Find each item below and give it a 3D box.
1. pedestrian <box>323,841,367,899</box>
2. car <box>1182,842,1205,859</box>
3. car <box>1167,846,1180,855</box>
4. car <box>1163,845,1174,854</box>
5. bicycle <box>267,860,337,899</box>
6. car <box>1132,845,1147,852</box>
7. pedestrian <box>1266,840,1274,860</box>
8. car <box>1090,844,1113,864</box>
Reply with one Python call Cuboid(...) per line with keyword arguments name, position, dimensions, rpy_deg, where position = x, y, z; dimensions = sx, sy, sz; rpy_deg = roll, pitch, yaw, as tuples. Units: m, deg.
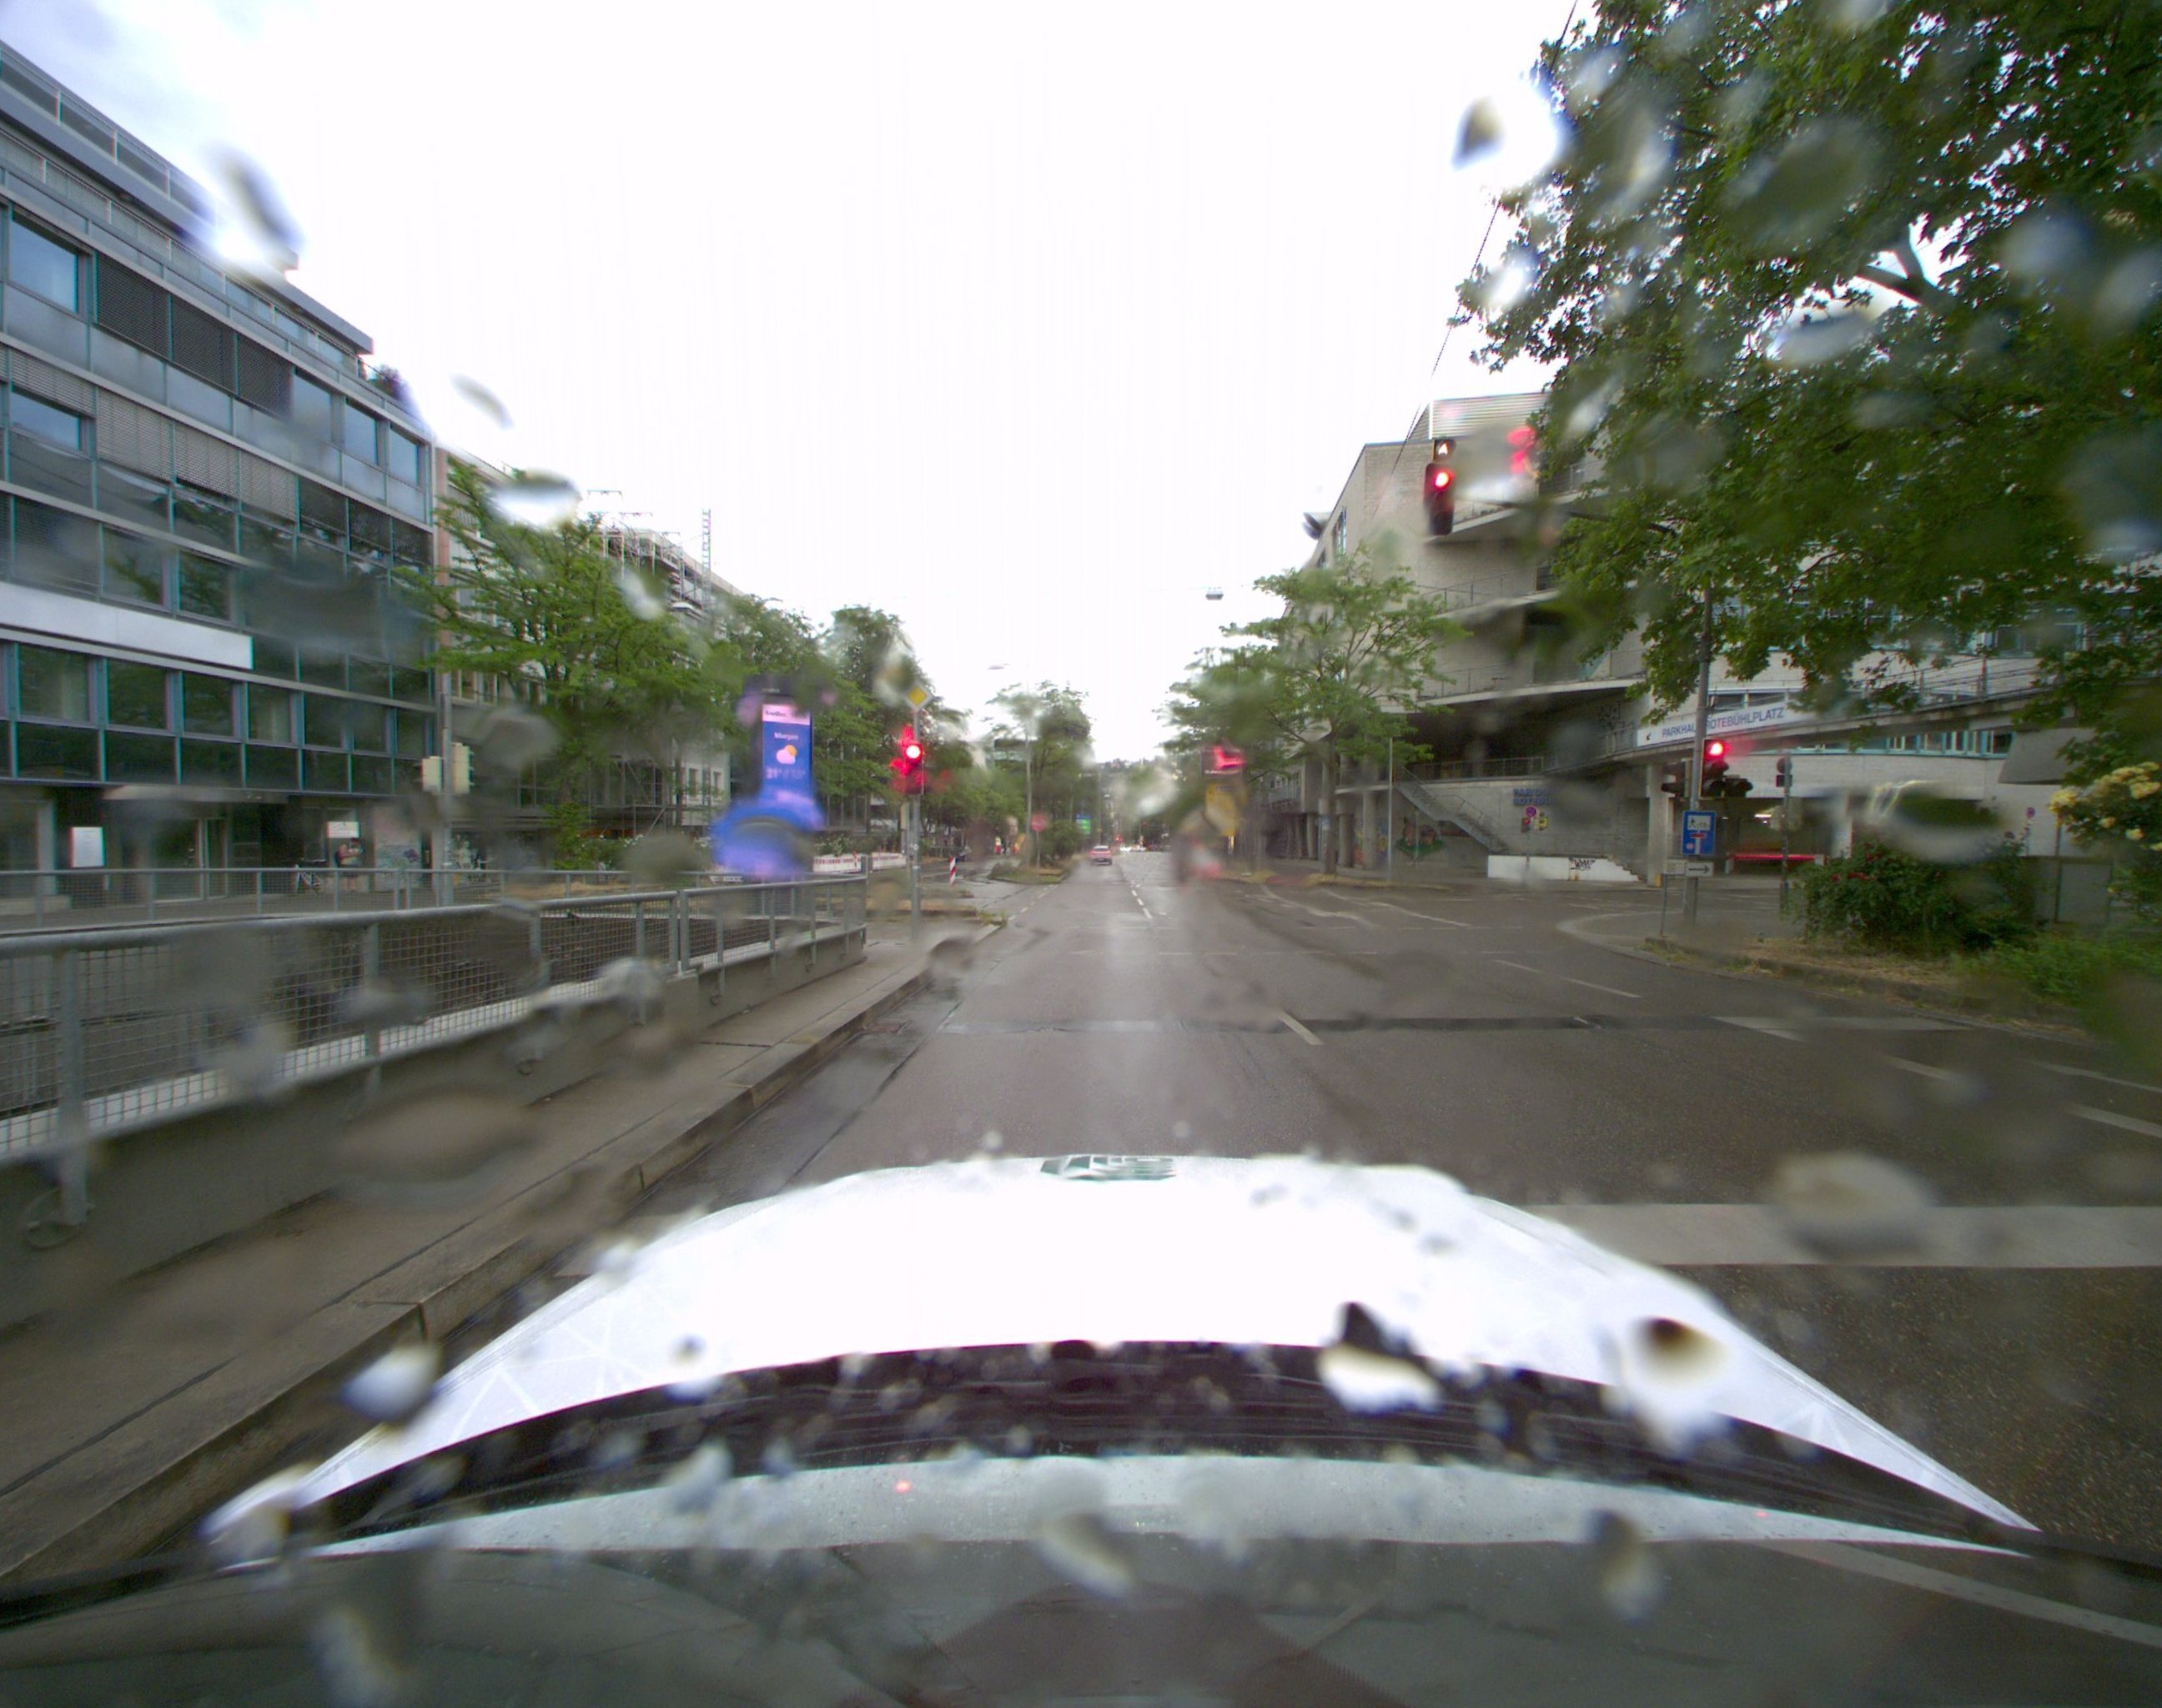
Cuboid(name="pedestrian", position=(-22.809, 0.489, 25.237), dimensions=(0.694, 1.741, 0.694), rpy_deg=(1, 0, -4))
Cuboid(name="car", position=(11.541, -0.349, 83.340), dimensions=(2.324, 1.691, 4.010), rpy_deg=(0, 0, 9))
Cuboid(name="car", position=(17.638, -0.650, 155.159), dimensions=(1.986, 1.723, 4.001), rpy_deg=(0, -1, 1))
Cuboid(name="car", position=(17.874, -0.845, 166.639), dimensions=(1.986, 1.736, 4.001), rpy_deg=(0, -1, 2))
Cuboid(name="bicycle", position=(-22.955, 0.741, 24.037), dimensions=(0.444, 1.085, 1.567), rpy_deg=(0, 0, 6))
Cuboid(name="car", position=(14.158, -1.339, 196.304), dimensions=(1.974, 1.758, 4.025), rpy_deg=(1, 0, 33))
Cuboid(name="pedestrian", position=(18.659, -0.396, 80.496), dimensions=(0.770, 1.920, 0.705), rpy_deg=(-1, -1, 11))
Cuboid(name="car", position=(1.722, -0.032, 70.917), dimensions=(1.823, 1.640, 4.299), rpy_deg=(1, 0, -1))
